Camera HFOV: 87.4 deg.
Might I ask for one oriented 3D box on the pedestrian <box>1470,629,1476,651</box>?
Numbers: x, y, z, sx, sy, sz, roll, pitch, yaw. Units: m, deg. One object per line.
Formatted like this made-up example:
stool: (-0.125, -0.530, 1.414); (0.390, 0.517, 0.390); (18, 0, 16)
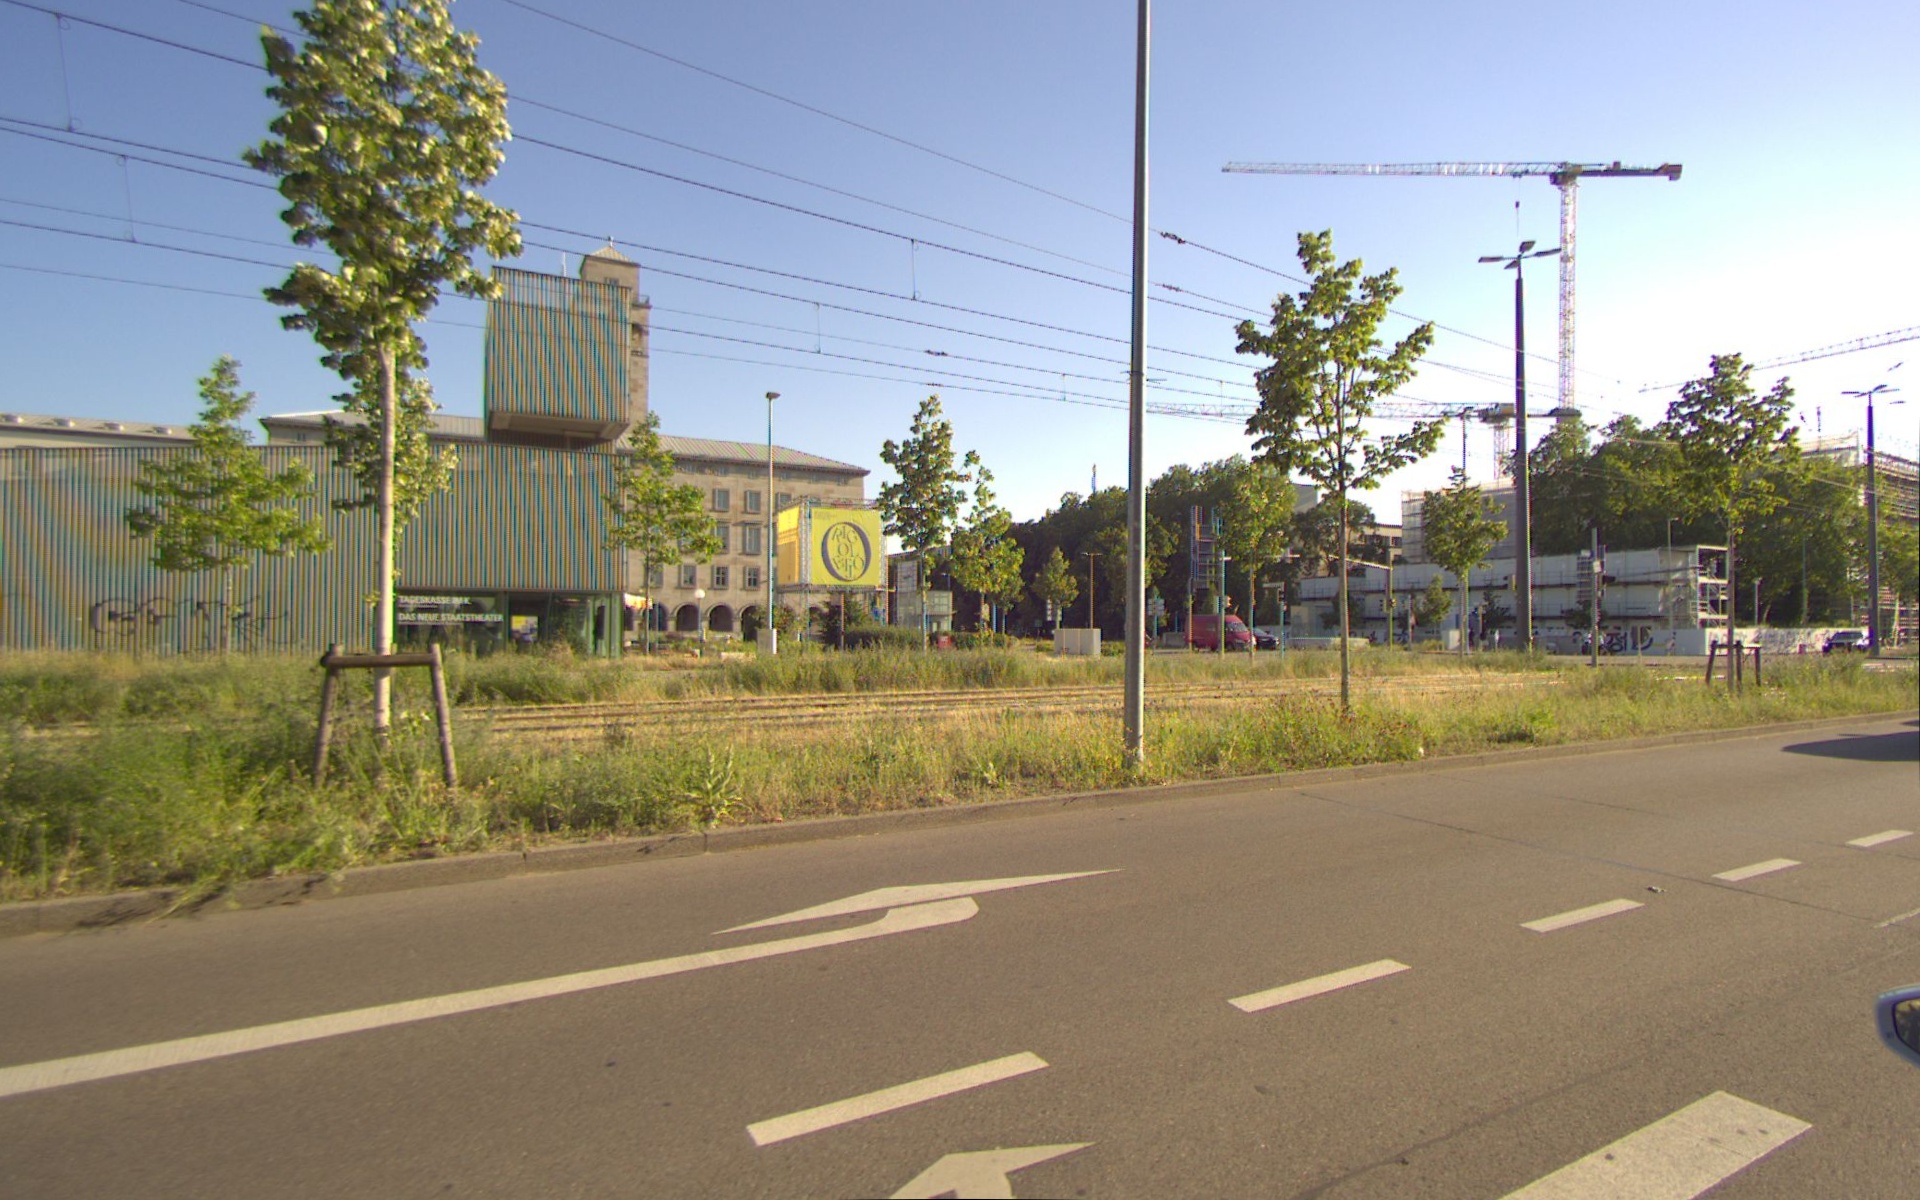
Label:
pedestrian: (34.326, 2.658, 67.185); (0.276, 1.484, 0.272); (1, -1, -31)

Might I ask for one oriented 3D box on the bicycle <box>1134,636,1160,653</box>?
bicycle: (11.401, 2.702, 61.296); (0.502, 0.984, 1.642); (1, -2, -36)

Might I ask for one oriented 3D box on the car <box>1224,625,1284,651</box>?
car: (20.708, 2.651, 70.819); (1.779, 1.781, 4.000); (1, -2, -29)

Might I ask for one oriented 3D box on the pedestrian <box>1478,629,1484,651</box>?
pedestrian: (34.536, 2.659, 66.530); (0.270, 1.484, 0.314); (0, -1, 44)

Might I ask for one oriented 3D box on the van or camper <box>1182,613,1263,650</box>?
van or camper: (17.954, 2.176, 69.118); (2.128, 2.446, 5.637); (1, -2, -29)

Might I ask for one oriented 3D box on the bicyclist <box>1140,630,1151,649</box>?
bicyclist: (11.341, 2.416, 61.392); (0.500, 1.157, 0.408); (1, -1, -36)

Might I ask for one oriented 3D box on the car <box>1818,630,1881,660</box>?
car: (57.353, 2.873, 64.728); (3.955, 1.800, 1.983); (1, -1, -31)
